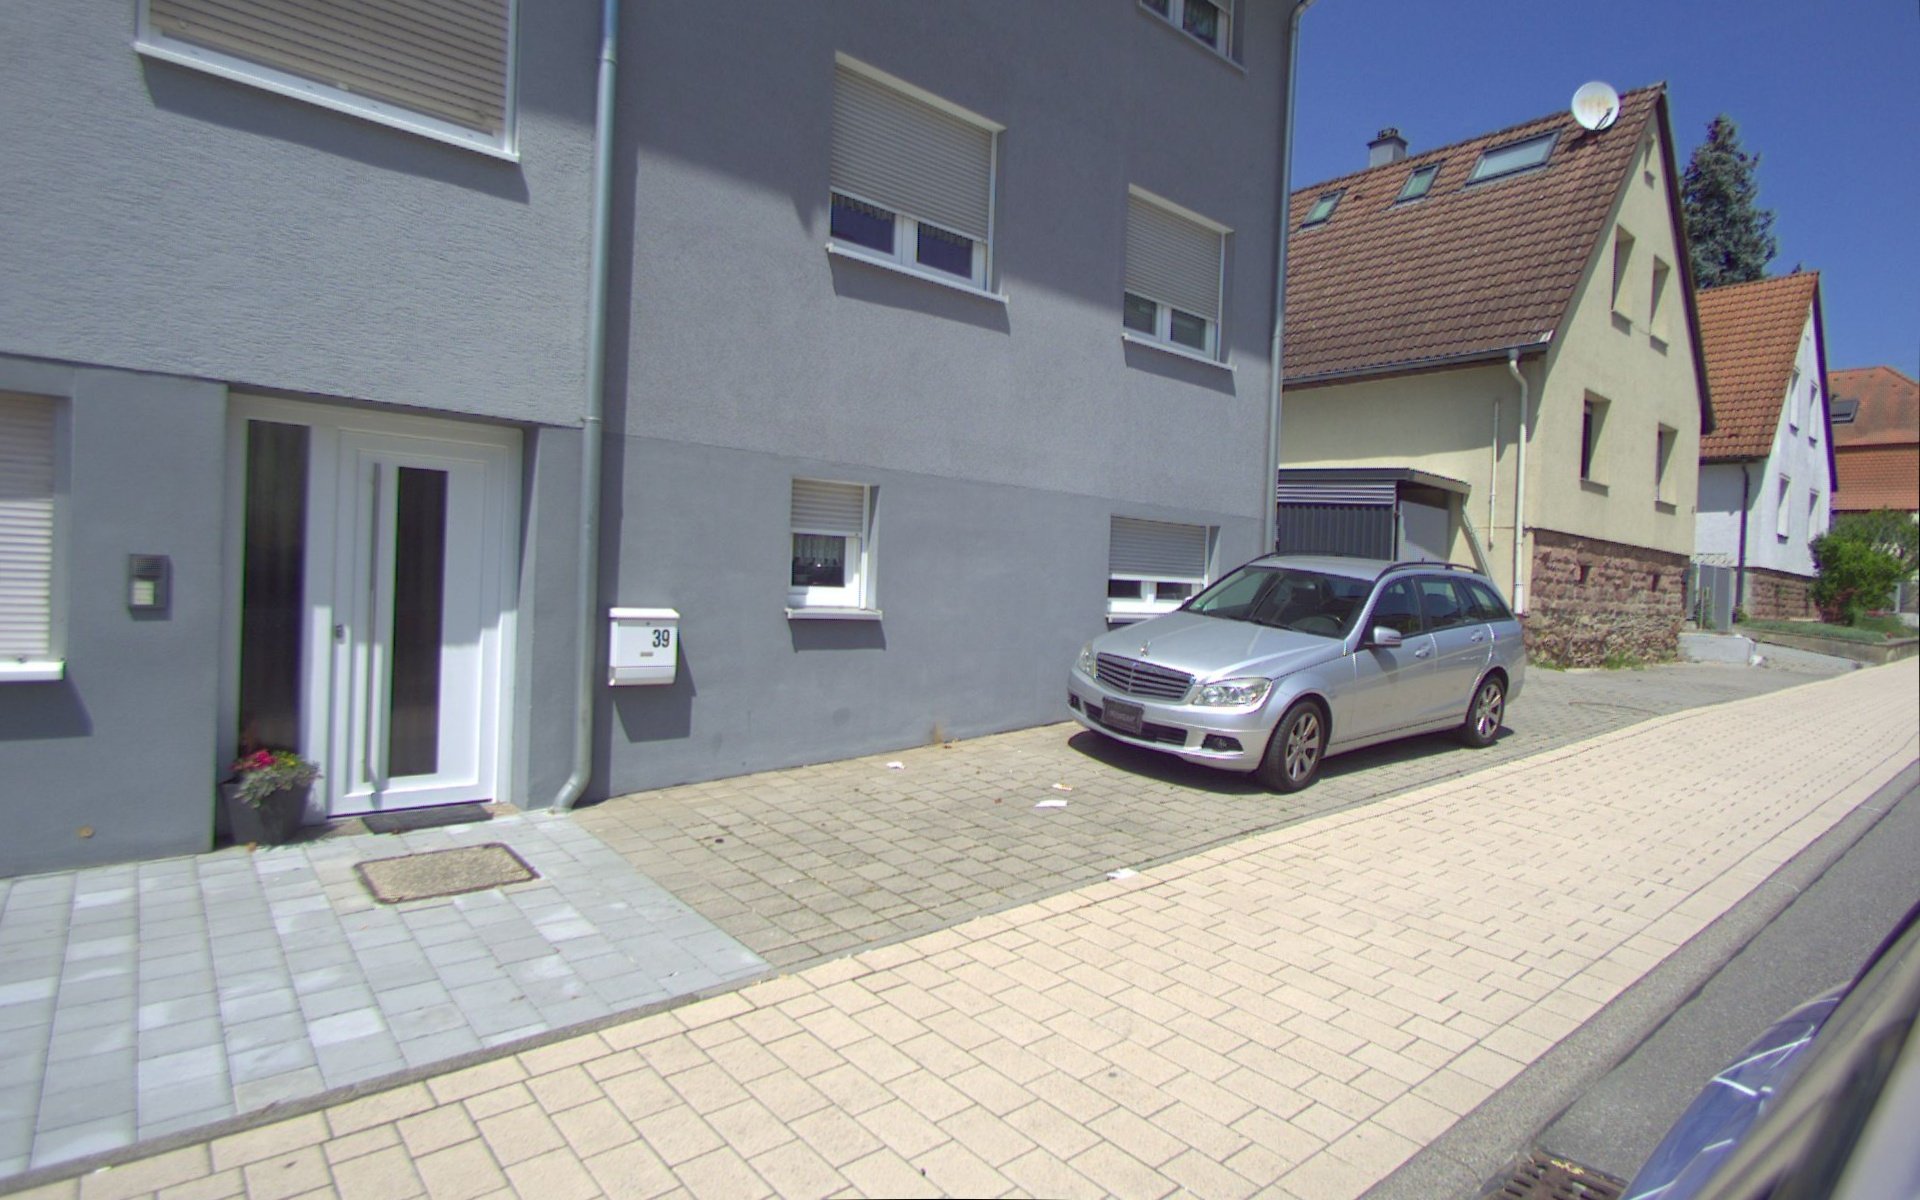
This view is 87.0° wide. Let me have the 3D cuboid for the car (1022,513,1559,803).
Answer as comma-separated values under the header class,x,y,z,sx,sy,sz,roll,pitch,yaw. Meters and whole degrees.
class,x,y,z,sx,sy,sz,roll,pitch,yaw
car,2.770,0.257,7.964,4.427,1.640,1.868,-1,5,-40
